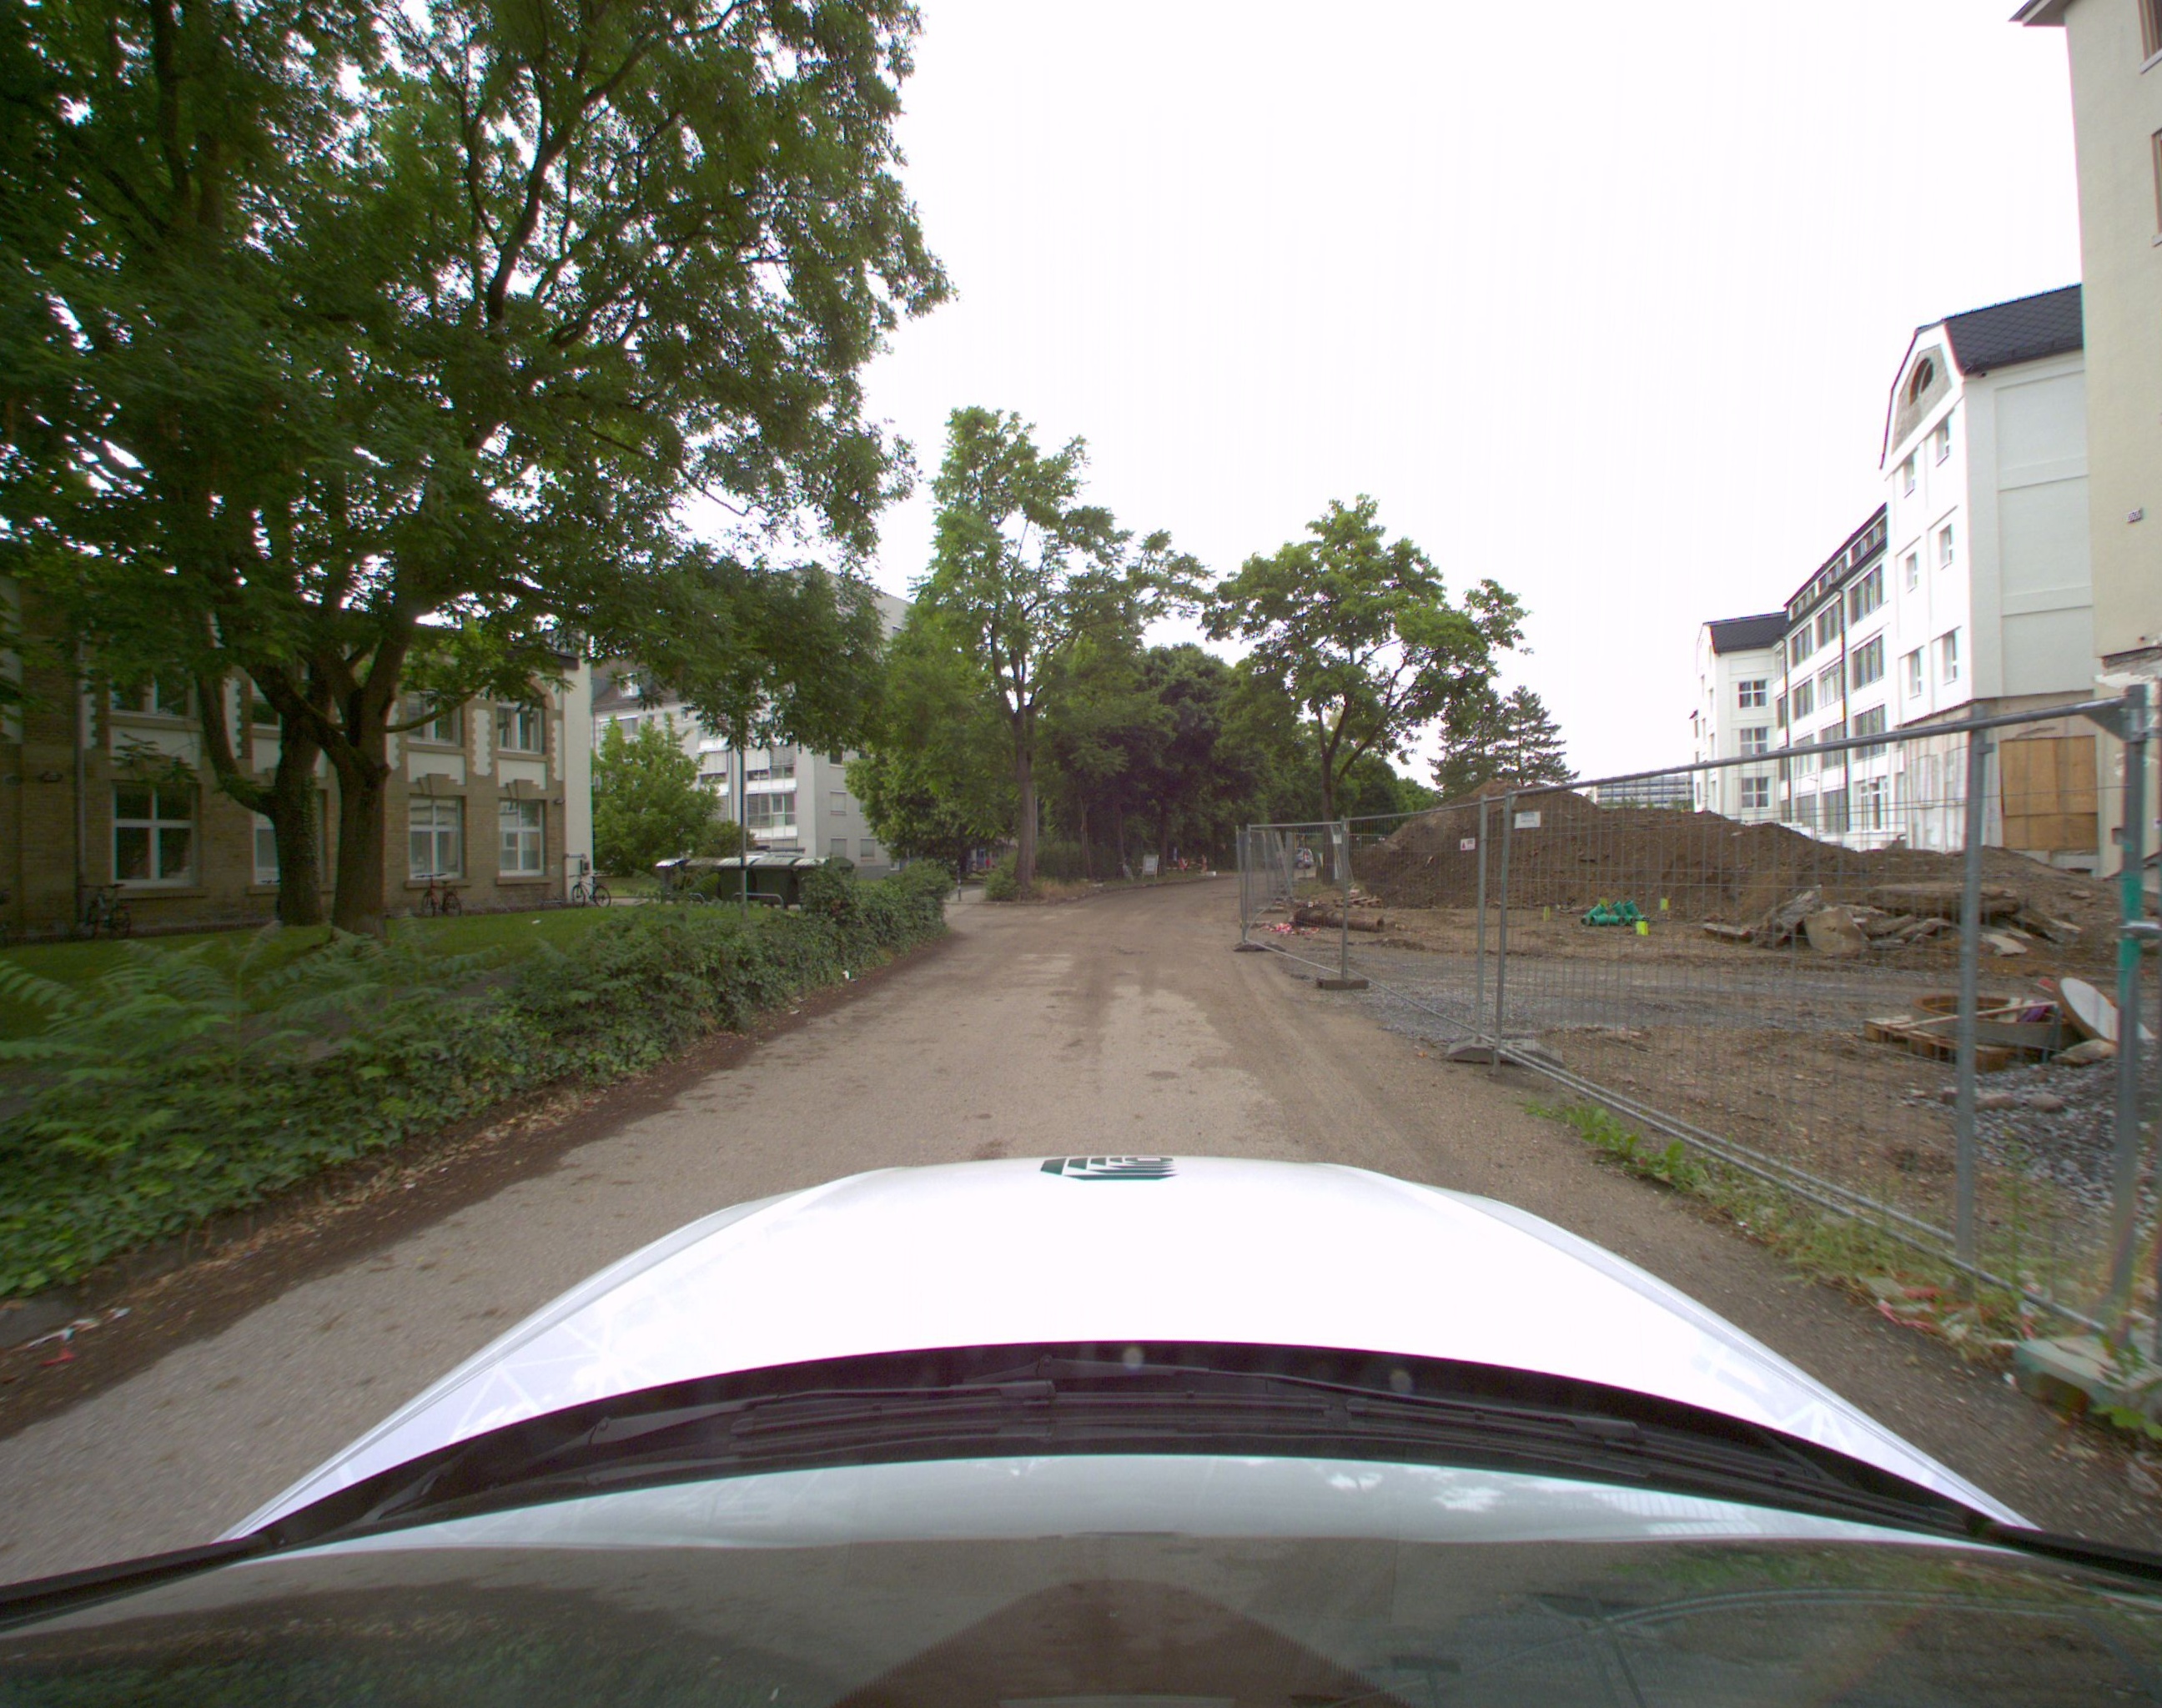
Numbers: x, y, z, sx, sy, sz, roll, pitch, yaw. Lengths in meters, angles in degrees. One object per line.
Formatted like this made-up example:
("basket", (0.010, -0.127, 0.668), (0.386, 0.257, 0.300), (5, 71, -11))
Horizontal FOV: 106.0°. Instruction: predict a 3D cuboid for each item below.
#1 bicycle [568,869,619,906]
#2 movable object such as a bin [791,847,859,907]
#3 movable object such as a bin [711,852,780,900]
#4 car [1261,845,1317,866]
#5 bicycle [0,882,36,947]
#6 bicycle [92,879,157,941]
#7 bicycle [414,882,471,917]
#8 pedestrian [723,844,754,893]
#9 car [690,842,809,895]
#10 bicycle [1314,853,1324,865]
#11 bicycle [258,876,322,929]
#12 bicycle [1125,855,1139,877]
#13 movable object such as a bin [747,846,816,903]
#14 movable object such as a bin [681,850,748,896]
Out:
("bicycle", (-14.593, 0.998, 24.346), (1.805, 1.065, 0.398), (-1, 0, 27))
("movable object such as a bin", (-6.537, 0.546, 20.808), (1.337, 1.450, 1.062), (1, 1, 37))
("movable object such as a bin", (-9.139, 0.582, 22.213), (1.337, 1.265, 1.062), (-1, 0, 23))
("car", (15.568, 0.096, 60.962), (3.663, 1.500, 1.880), (-1, 1, 32))
("bicycle", (-19.939, 1.096, 15.069), (2.192, 1.119, 0.623), (-1, 0, 35))
("bicycle", (-19.055, 1.079, 16.207), (2.192, 1.119, 0.623), (-1, 0, 35))
("bicycle", (-16.472, 1.154, 21.003), (1.919, 0.813, 0.623), (-1, 0, 35))
("pedestrian", (-13.018, 0.545, 30.970), (0.689, 1.808, 0.761), (-3, -1, 25))
("car", (-13.494, 0.558, 33.451), (1.831, 2.014, 4.376), (-2, -1, 25))
("bicycle", (20.328, 0.398, 69.562), (0.764, 0.978, 2.041), (-1, 0, 18))
("bicycle", (-17.888, 1.062, 18.402), (2.192, 1.119, 0.623), (-1, 0, 35))
("bicycle", (2.150, 0.491, 34.365), (0.416, 0.905, 1.158), (-1, 0, 13))
("movable object such as a bin", (-7.923, 0.531, 21.562), (1.337, 1.456, 1.062), (-1, -1, 23))
("movable object such as a bin", (-10.338, 0.532, 22.976), (1.338, 1.265, 1.061), (-1, 0, 20))
